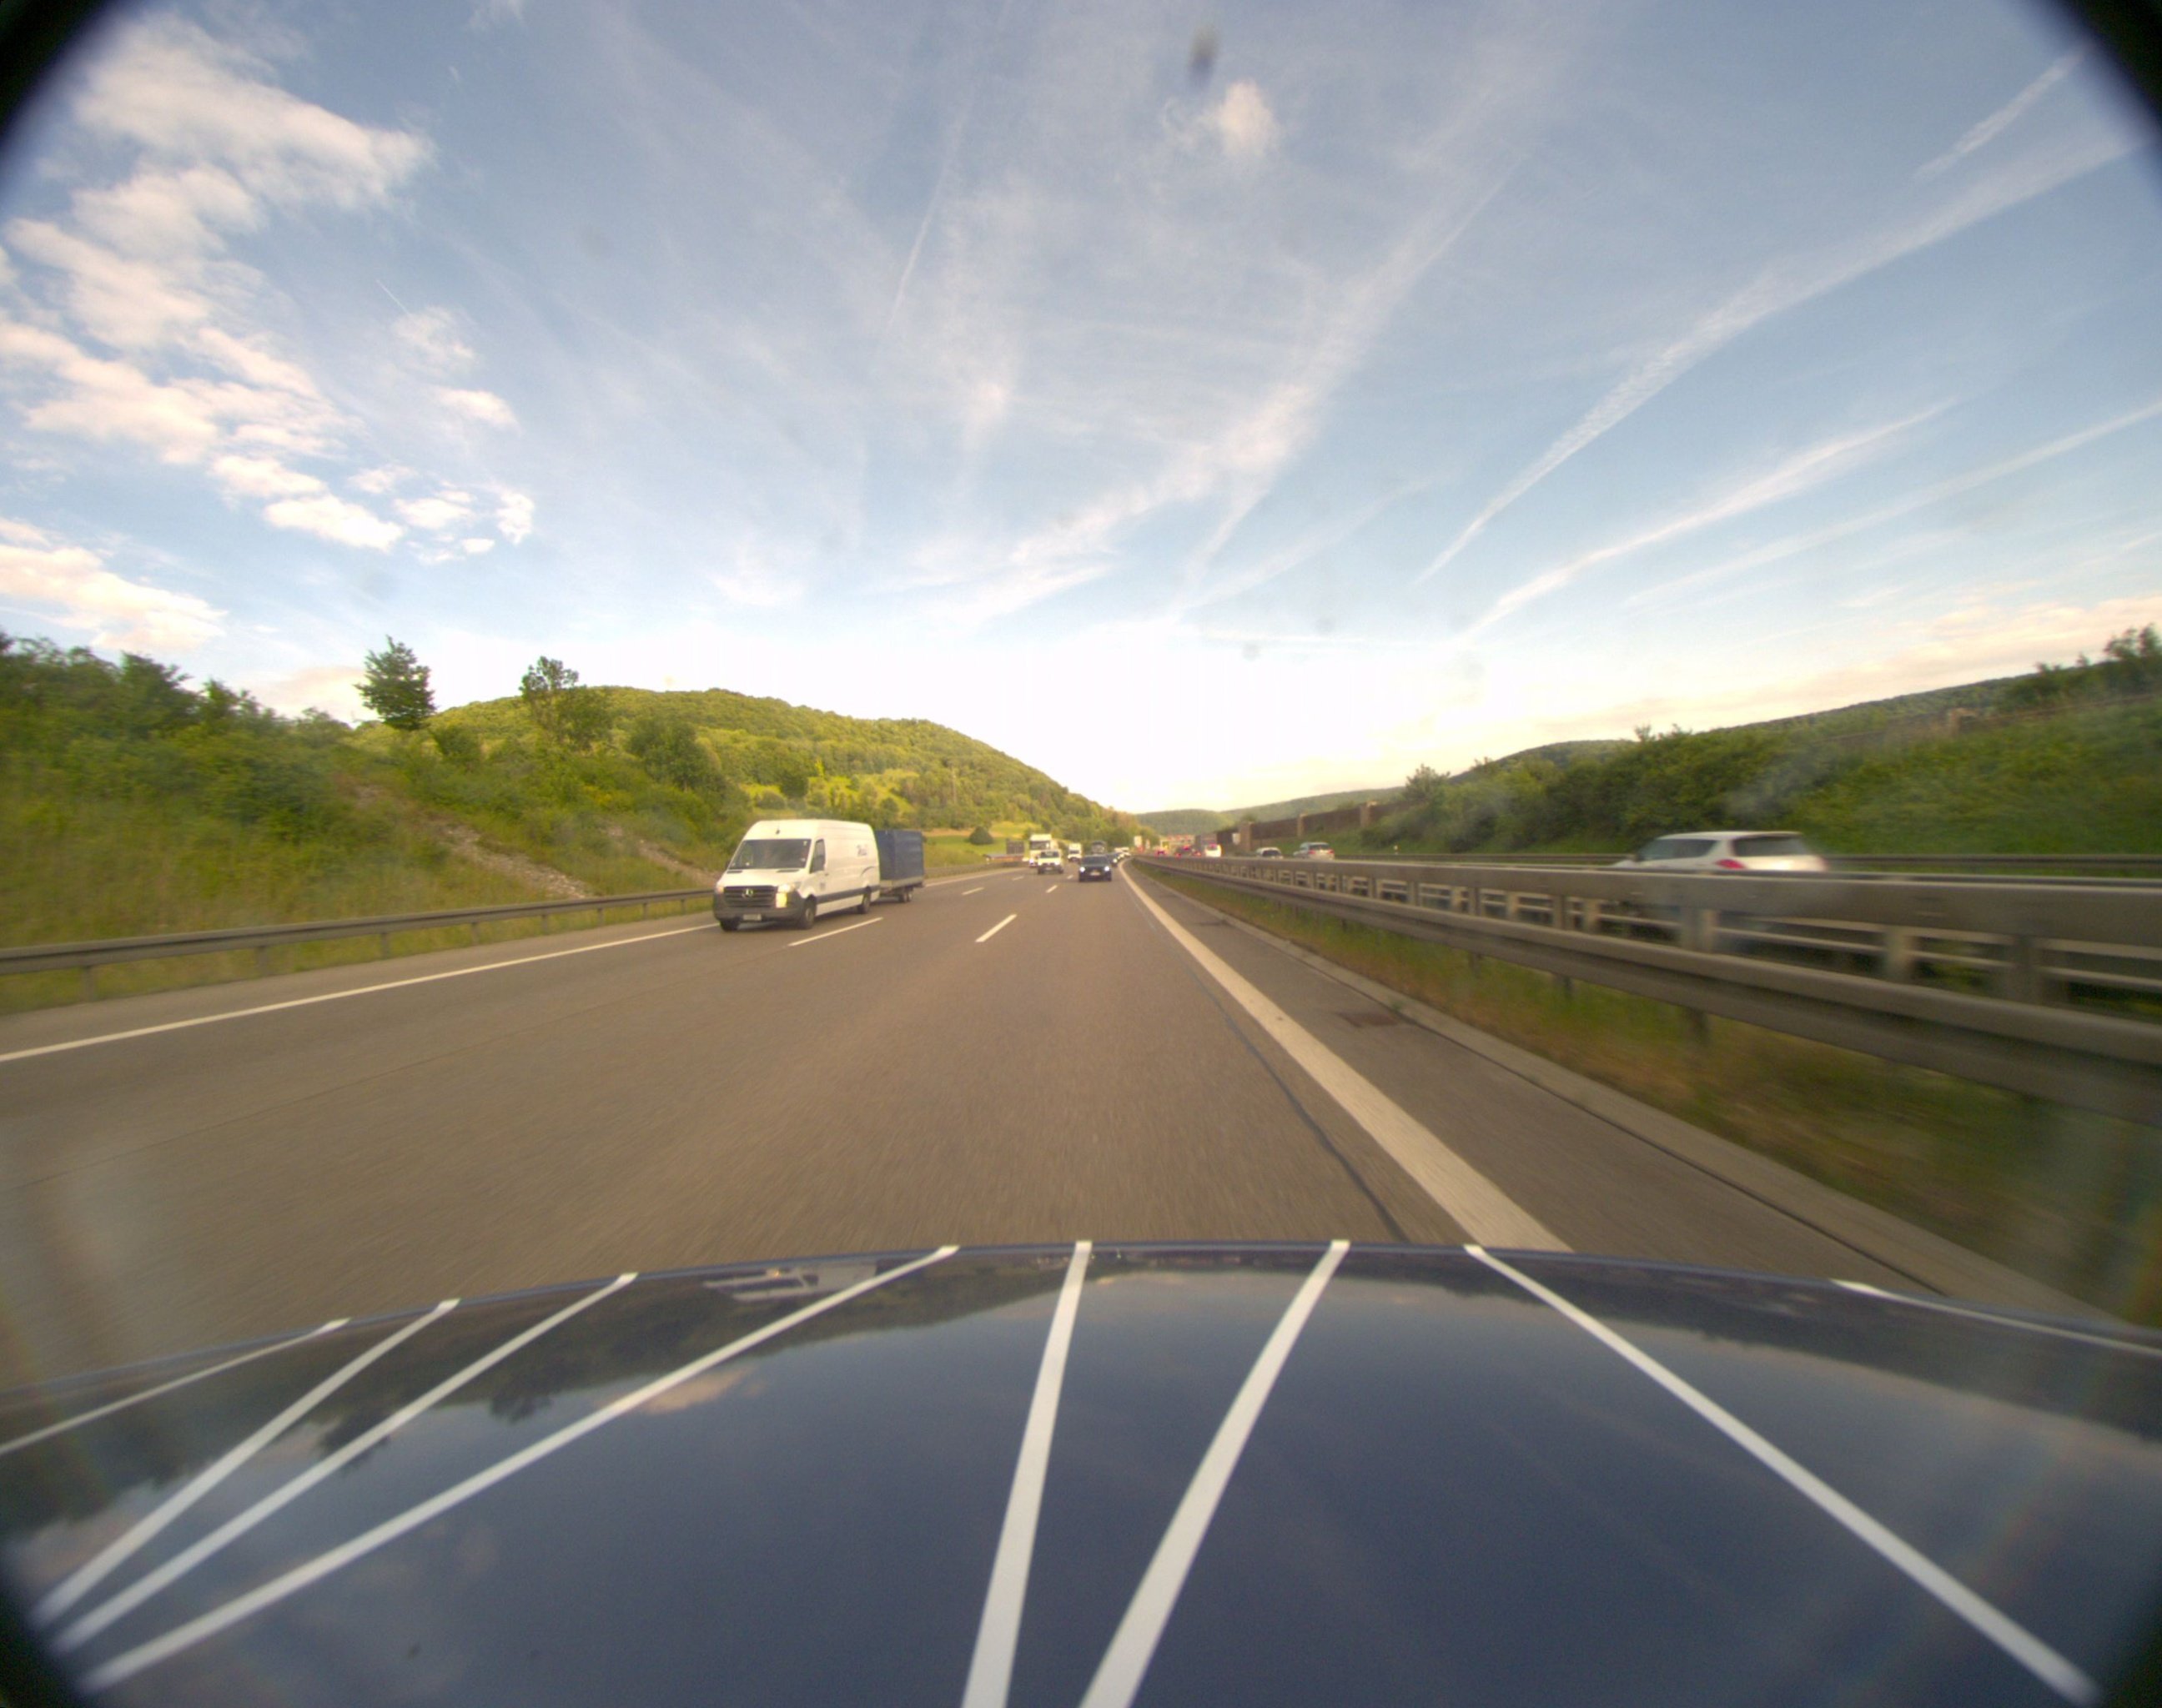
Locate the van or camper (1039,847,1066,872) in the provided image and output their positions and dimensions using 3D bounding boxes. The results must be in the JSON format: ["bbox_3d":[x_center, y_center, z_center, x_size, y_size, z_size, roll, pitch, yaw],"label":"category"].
[{"bbox_3d":[-2.342,0.404,61.190,1.999,1.881,4.485,-2,1,-4],"label":"van or camper"}]

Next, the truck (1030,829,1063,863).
[{"bbox_3d":[-4.218,-1.030,96.397,2.925,3.876,13.011,-2,0,3],"label":"truck"}]

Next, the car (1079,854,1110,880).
[{"bbox_3d":[0.798,0.680,42.307,1.580,1.310,4.000,-2,0,2],"label":"car"}]

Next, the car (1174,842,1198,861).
[{"bbox_3d":[10.870,-0.300,78.773,1.934,1.881,4.345,-2,1,2],"label":"car"}]

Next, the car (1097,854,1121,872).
[{"bbox_3d":[2.909,0.918,79.641,1.999,1.870,3.998,-1,0,-5],"label":"car"}]

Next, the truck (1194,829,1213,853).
[{"bbox_3d":[22.100,-2.340,137.552,2.656,4.235,8.169,-2,1,5],"label":"truck"}]

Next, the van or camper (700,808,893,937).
[{"bbox_3d":[-6.992,0.391,19.942,1.998,2.701,7.523,-2,0,1],"label":"van or camper"}]

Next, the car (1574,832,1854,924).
[{"bbox_3d":[11.573,0.364,14.367,1.647,1.427,4.344,-2,1,0],"label":"car"}]

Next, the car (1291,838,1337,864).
[{"bbox_3d":[16.515,-0.235,54.105,1.934,1.712,4.879,-2,1,2],"label":"car"}]

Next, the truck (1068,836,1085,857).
[{"bbox_3d":[-0.866,-1.279,138.372,2.709,3.627,9.030,-2,0,-3],"label":"truck"}]

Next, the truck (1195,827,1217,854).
[{"bbox_3d":[21.604,-2.255,131.997,2.656,4.253,14.682,-2,0,5],"label":"truck"}]

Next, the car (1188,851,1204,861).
[{"bbox_3d":[16.649,0.290,110.209,1.688,1.388,4.000,-2,1,2],"label":"car"}]

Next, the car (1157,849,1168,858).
[{"bbox_3d":[14.033,-0.078,130.974,1.688,1.450,4.000,-2,1,2],"label":"car"}]

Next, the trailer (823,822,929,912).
[{"bbox_3d":[-6.850,0.378,26.066,1.998,2.710,5.249,-2,1,2],"label":"trailer"}]

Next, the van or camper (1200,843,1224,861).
[{"bbox_3d":[14.793,-0.250,86.071,1.853,1.928,5.401,-2,1,2],"label":"van or camper"}]

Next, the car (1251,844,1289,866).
[{"bbox_3d":[12.895,0.045,52.121,1.647,1.427,4.345,-2,1,2],"label":"car"}]
